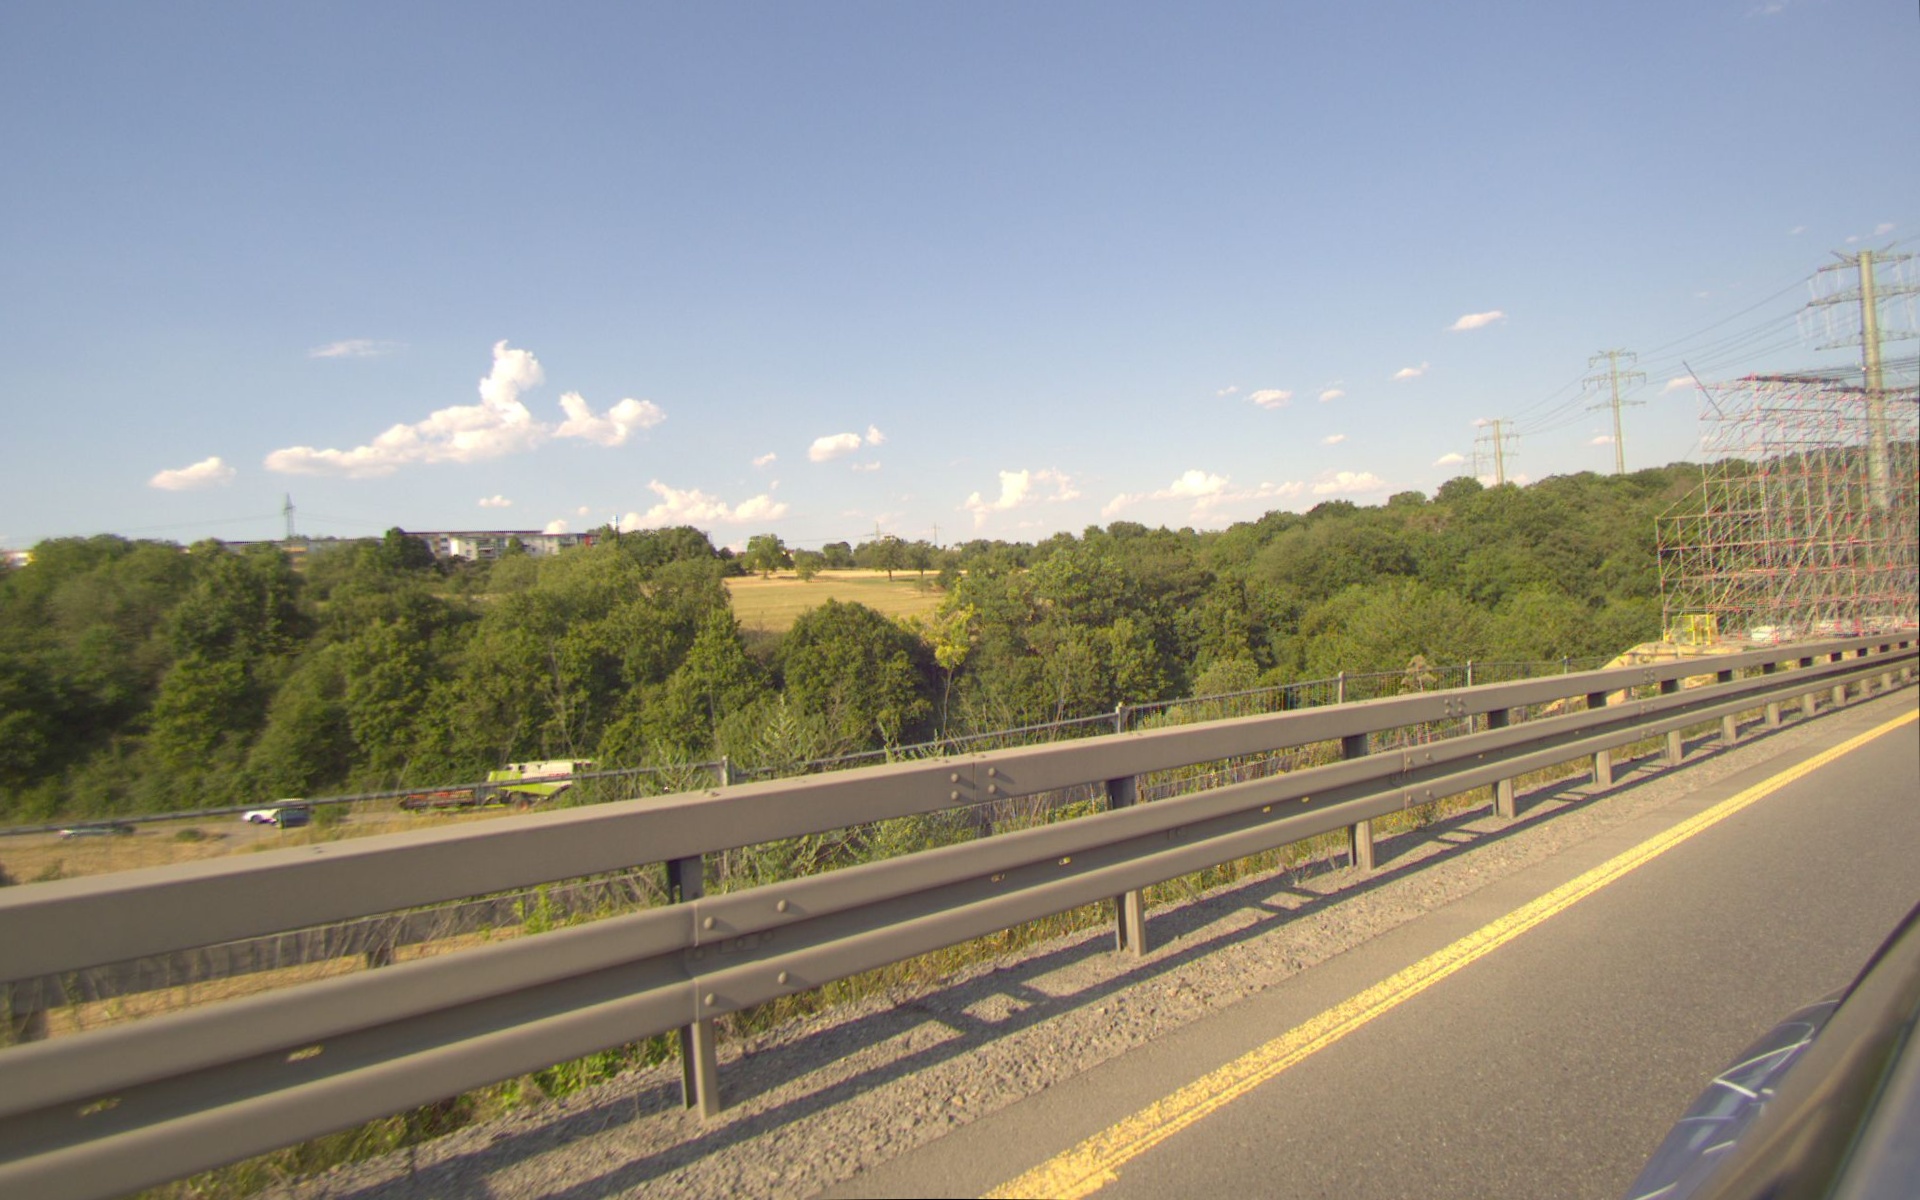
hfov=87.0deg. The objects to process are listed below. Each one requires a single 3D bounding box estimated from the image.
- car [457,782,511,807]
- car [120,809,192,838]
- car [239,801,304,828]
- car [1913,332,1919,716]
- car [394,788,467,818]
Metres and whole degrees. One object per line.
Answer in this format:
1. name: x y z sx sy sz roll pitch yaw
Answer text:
1. car: -40.899 16.691 87.007 4.019 1.573 1.686 0 1 -18
2. car: -61.801 17.203 77.873 4.019 1.573 1.686 0 1 -18
3. car: -55.527 17.294 81.655 4.020 1.573 1.686 0 1 -13
4. car: 14.470 -0.841 12.374 8.128 4.167 2.859 -1 1 -38
5. car: -43.315 16.587 82.933 5.023 1.858 1.711 0 1 -13
